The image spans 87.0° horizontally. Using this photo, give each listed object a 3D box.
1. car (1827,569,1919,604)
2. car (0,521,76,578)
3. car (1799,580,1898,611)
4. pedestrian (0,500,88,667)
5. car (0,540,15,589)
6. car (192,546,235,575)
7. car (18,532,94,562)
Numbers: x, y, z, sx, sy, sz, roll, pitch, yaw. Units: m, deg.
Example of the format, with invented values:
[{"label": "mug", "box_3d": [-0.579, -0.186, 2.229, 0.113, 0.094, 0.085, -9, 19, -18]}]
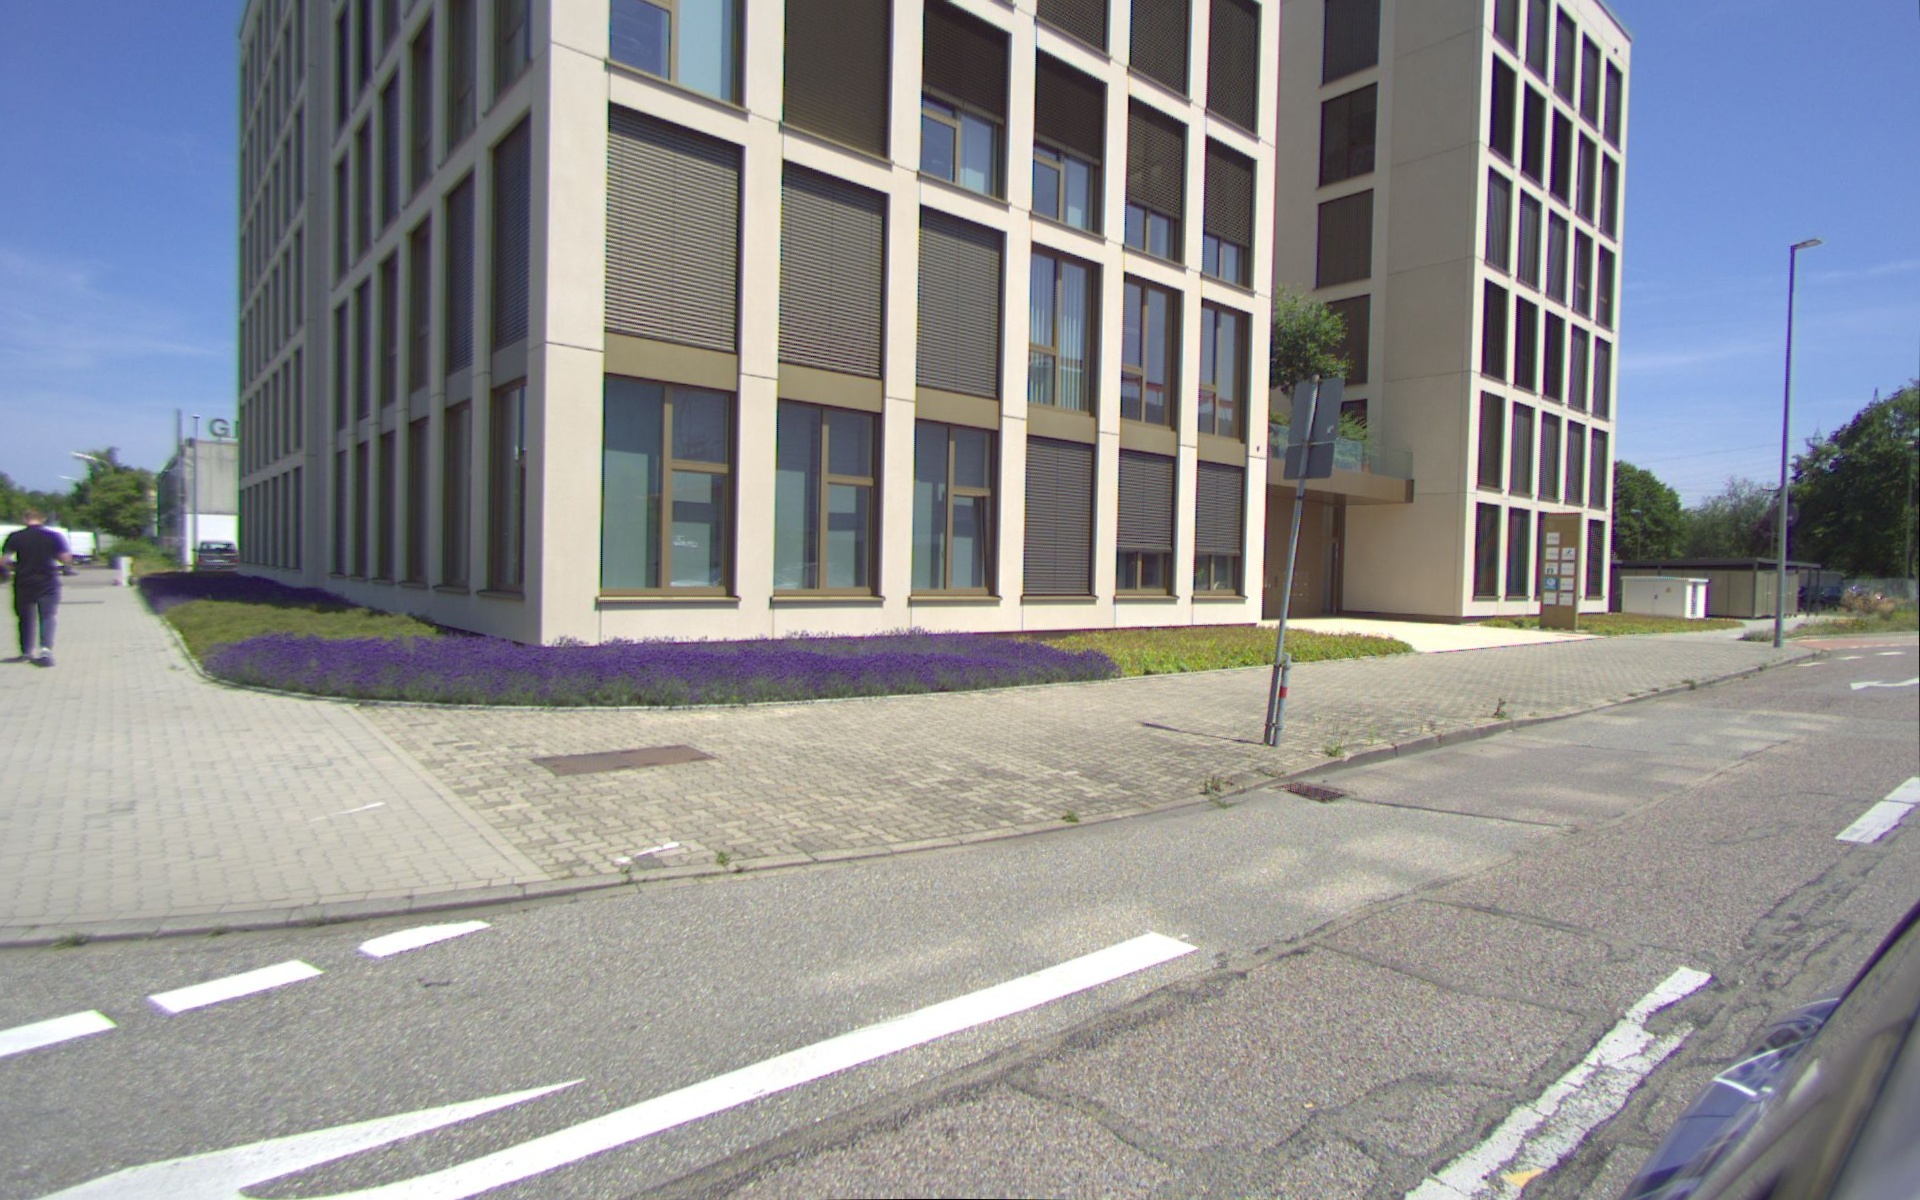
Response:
[{"label": "car", "box_3d": [55.938, -0.835, 61.882, 3.957, 1.977, 1.984, 2, 2, 24]}, {"label": "car", "box_3d": [-44.595, -2.368, 46.661, 5.698, 2.565, 2.100, 1, 1, -41]}, {"label": "car", "box_3d": [52.455, -0.282, 59.863, 3.960, 1.682, 1.823, 2, 2, 26]}, {"label": "pedestrian", "box_3d": [-10.755, -0.205, 11.782, 0.758, 1.867, 0.869, -1, 3, -33]}, {"label": "car", "box_3d": [-31.930, -1.062, 30.914, 1.792, 1.557, 4.132, 1, 3, 19]}, {"label": "car", "box_3d": [-41.028, -2.186, 55.603, 1.758, 1.541, 3.574, -1, 3, -39]}, {"label": "car", "box_3d": [-70.611, -4.129, 79.121, 4.281, 2.146, 2.094, 0, 2, -38]}]
